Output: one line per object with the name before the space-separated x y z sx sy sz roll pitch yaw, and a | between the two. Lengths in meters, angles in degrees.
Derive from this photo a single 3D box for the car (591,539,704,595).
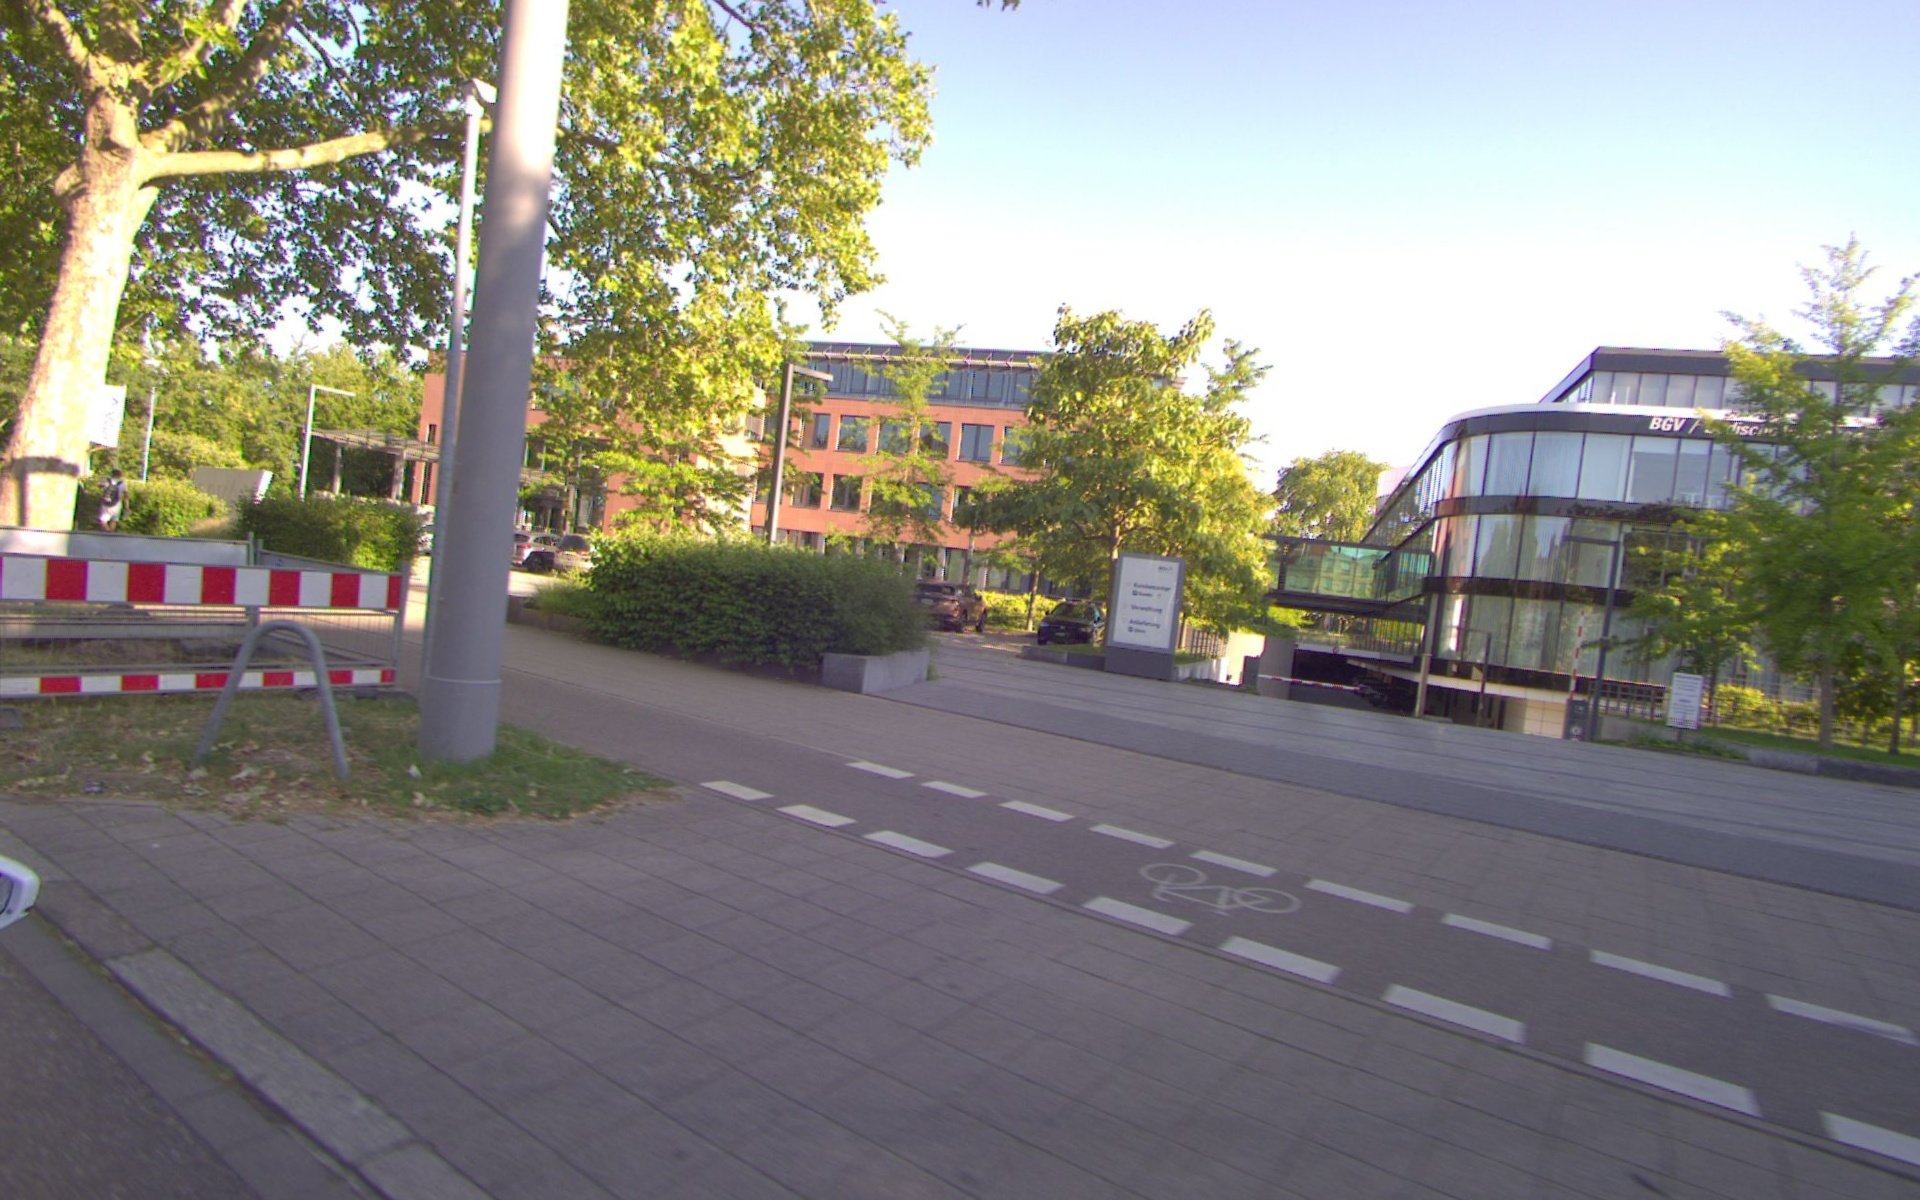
car | -11.856 -1.217 38.578 1.813 1.736 4.685 8 2 14

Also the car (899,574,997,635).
car | -0.325 0.162 35.258 2.033 1.736 4.684 8 2 16

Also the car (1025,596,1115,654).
car | 3.701 0.842 33.007 2.033 1.503 4.687 8 0 16

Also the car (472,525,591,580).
car | -17.087 -1.854 40.399 1.813 1.736 4.685 8 2 14

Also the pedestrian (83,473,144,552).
pedestrian | -20.999 -2.164 24.954 1.092 1.817 0.805 7 2 35

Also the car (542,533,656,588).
car | -14.132 -1.517 39.722 1.813 1.736 4.685 8 2 14

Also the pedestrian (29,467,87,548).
pedestrian | -21.815 -2.226 24.330 1.069 1.817 0.750 7 2 35

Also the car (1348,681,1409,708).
car | 36.092 8.159 86.688 4.625 1.736 2.059 7 2 -24

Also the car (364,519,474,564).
car | -24.238 -2.575 45.235 1.962 1.526 4.172 8 2 14

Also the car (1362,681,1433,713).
car | 32.279 7.185 74.242 4.625 1.736 2.059 7 2 -24

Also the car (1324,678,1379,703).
car | 37.346 8.651 95.860 4.625 1.736 2.059 7 2 -24

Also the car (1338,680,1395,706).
car | 36.843 8.420 91.178 4.625 1.736 2.059 7 2 -24
